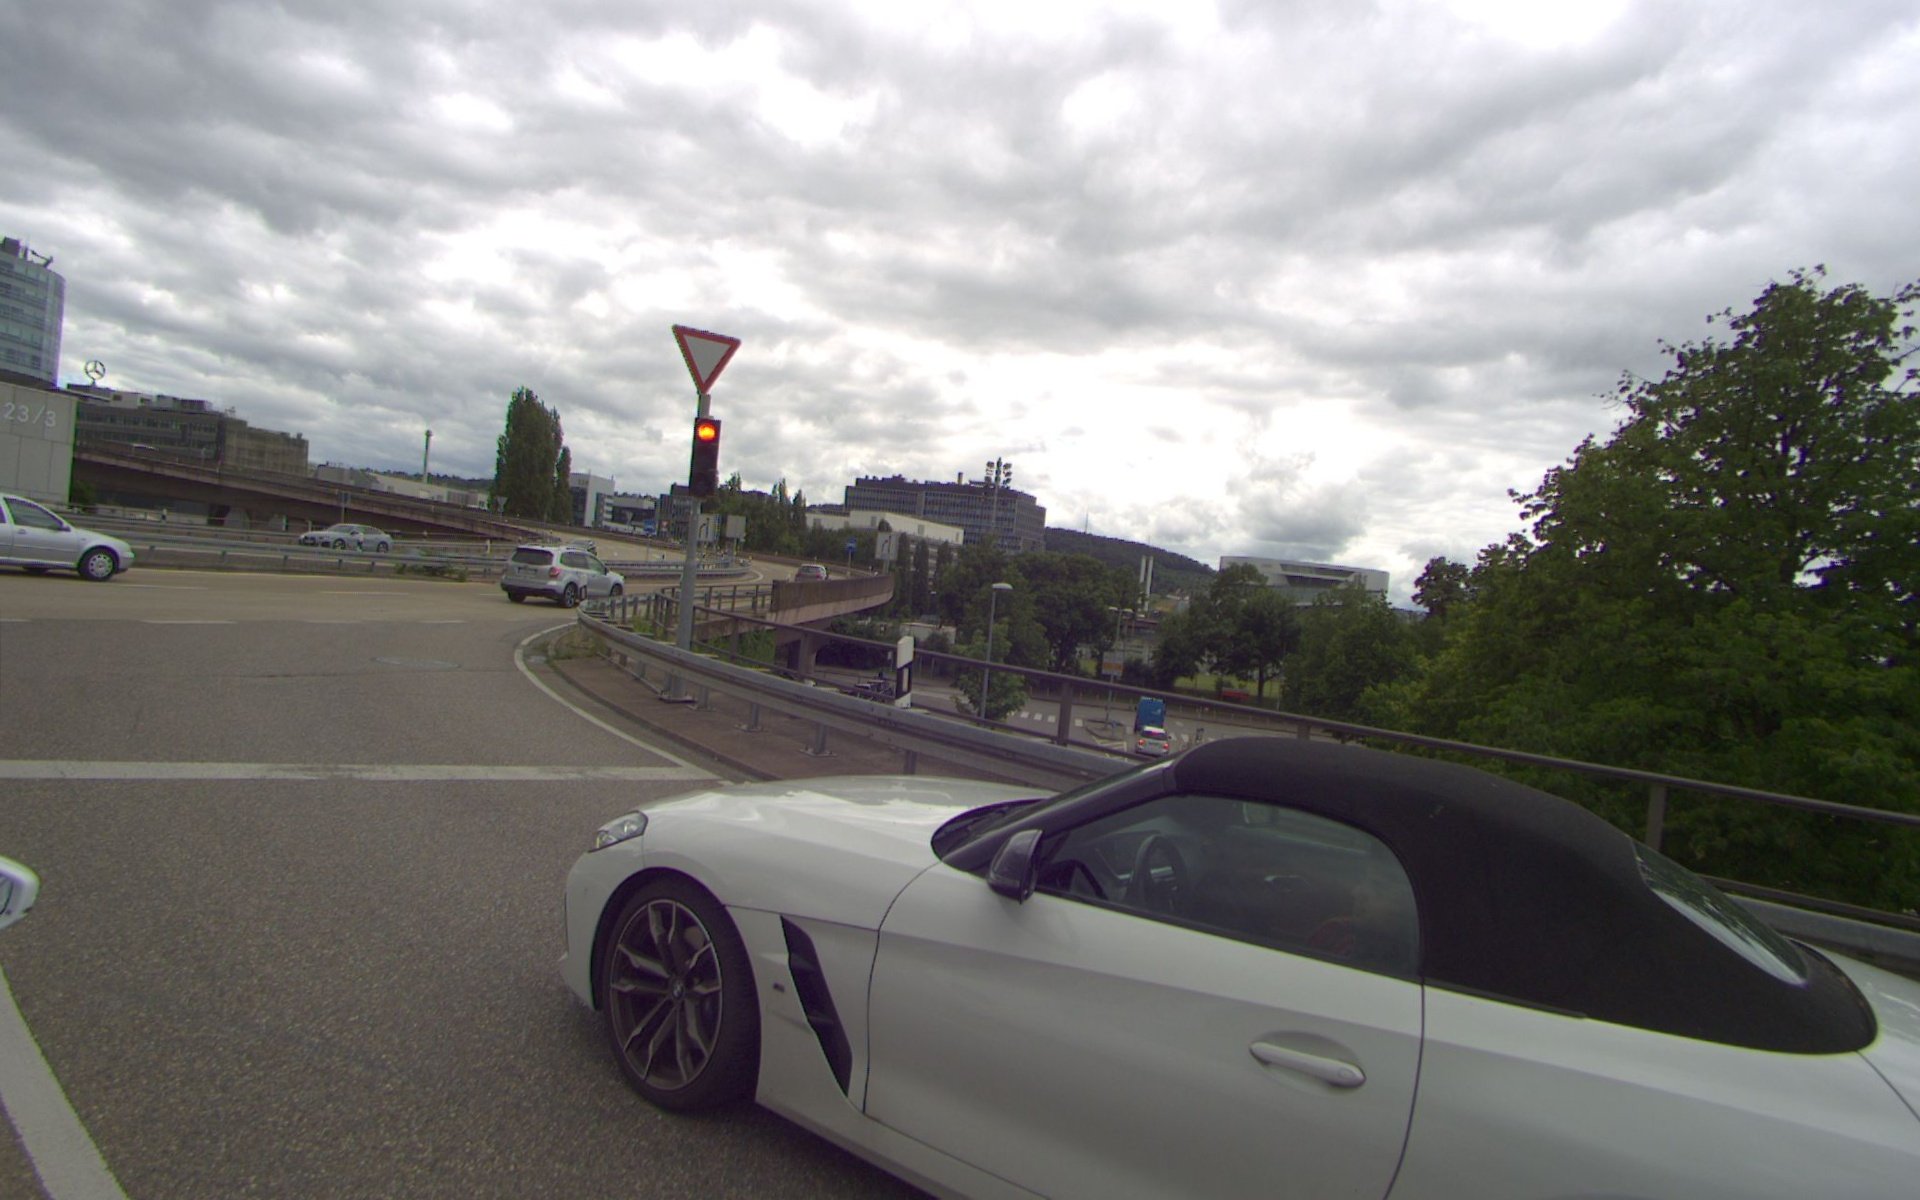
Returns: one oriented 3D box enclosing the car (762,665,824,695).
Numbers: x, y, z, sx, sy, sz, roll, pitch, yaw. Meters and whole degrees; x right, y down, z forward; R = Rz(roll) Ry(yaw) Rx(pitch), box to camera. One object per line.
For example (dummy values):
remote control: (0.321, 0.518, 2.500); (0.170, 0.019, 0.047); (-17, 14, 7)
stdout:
car: (-11.465, 5.489, 69.126); (3.792, 1.371, 1.826); (8, 1, 1)

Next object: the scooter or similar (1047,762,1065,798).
scooter or similar: (3.854, 7.202, 40.358); (0.481, 1.199, 1.073); (8, 1, 10)

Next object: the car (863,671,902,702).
car: (-5.270, 5.861, 68.628); (1.792, 1.553, 4.000); (8, 0, 6)

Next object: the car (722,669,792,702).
car: (-12.458, 5.268, 61.887); (3.792, 1.371, 1.826); (8, 1, 1)

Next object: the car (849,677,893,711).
car: (-5.530, 5.834, 62.994); (1.792, 1.553, 4.195); (8, 0, 6)

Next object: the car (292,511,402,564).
car: (-30.488, -3.072, 50.196); (1.879, 1.679, 4.758); (8, -4, 9)

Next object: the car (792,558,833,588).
car: (-8.658, -1.572, 59.315); (1.698, 1.480, 4.242); (7, 0, -1)

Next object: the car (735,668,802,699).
car: (-12.180, 5.315, 64.227); (3.792, 1.371, 1.826); (8, 1, 1)

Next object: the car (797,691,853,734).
car: (-6.855, 5.724, 51.589); (1.792, 1.553, 4.000); (8, 0, 6)

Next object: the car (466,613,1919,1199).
car: (0.626, 0.994, 3.006); (4.194, 1.306, 1.808); (7, -2, 34)

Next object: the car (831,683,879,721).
car: (-5.990, 5.784, 57.611); (1.792, 1.553, 4.000); (8, 0, 6)

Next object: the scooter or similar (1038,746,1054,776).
scooter or similar: (3.977, 7.465, 46.715); (0.481, 1.199, 1.073); (8, 1, 10)

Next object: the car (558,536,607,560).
car: (-28.482, -3.927, 76.005); (1.880, 1.440, 3.990); (9, 2, 2)

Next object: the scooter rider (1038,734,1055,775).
scooter rider: (4.011, 7.170, 46.723); (0.481, 1.761, 0.514); (8, 2, 10)

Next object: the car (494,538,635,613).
car: (-11.523, -0.644, 29.723); (1.697, 1.758, 4.558); (7, 0, 8)

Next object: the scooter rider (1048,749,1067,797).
scooter rider: (3.900, 6.931, 40.320); (0.481, 1.776, 0.548); (8, 2, 10)

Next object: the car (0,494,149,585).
car: (-17.180, -1.178, 17.841); (1.697, 1.417, 4.068); (7, 0, 14)

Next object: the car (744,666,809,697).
car: (-12.064, 5.372, 66.346); (3.792, 1.371, 1.826); (8, 1, 1)

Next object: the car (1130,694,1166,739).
car: (13.333, 8.178, 71.452); (1.978, 2.617, 5.399); (10, -2, 11)

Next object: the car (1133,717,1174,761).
car: (11.319, 8.096, 58.869); (1.978, 1.883, 4.868); (10, -2, 11)

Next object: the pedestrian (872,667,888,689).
pedestrian: (-6.043, 5.914, 76.002); (0.898, 1.514, 0.750); (8, -3, 8)
